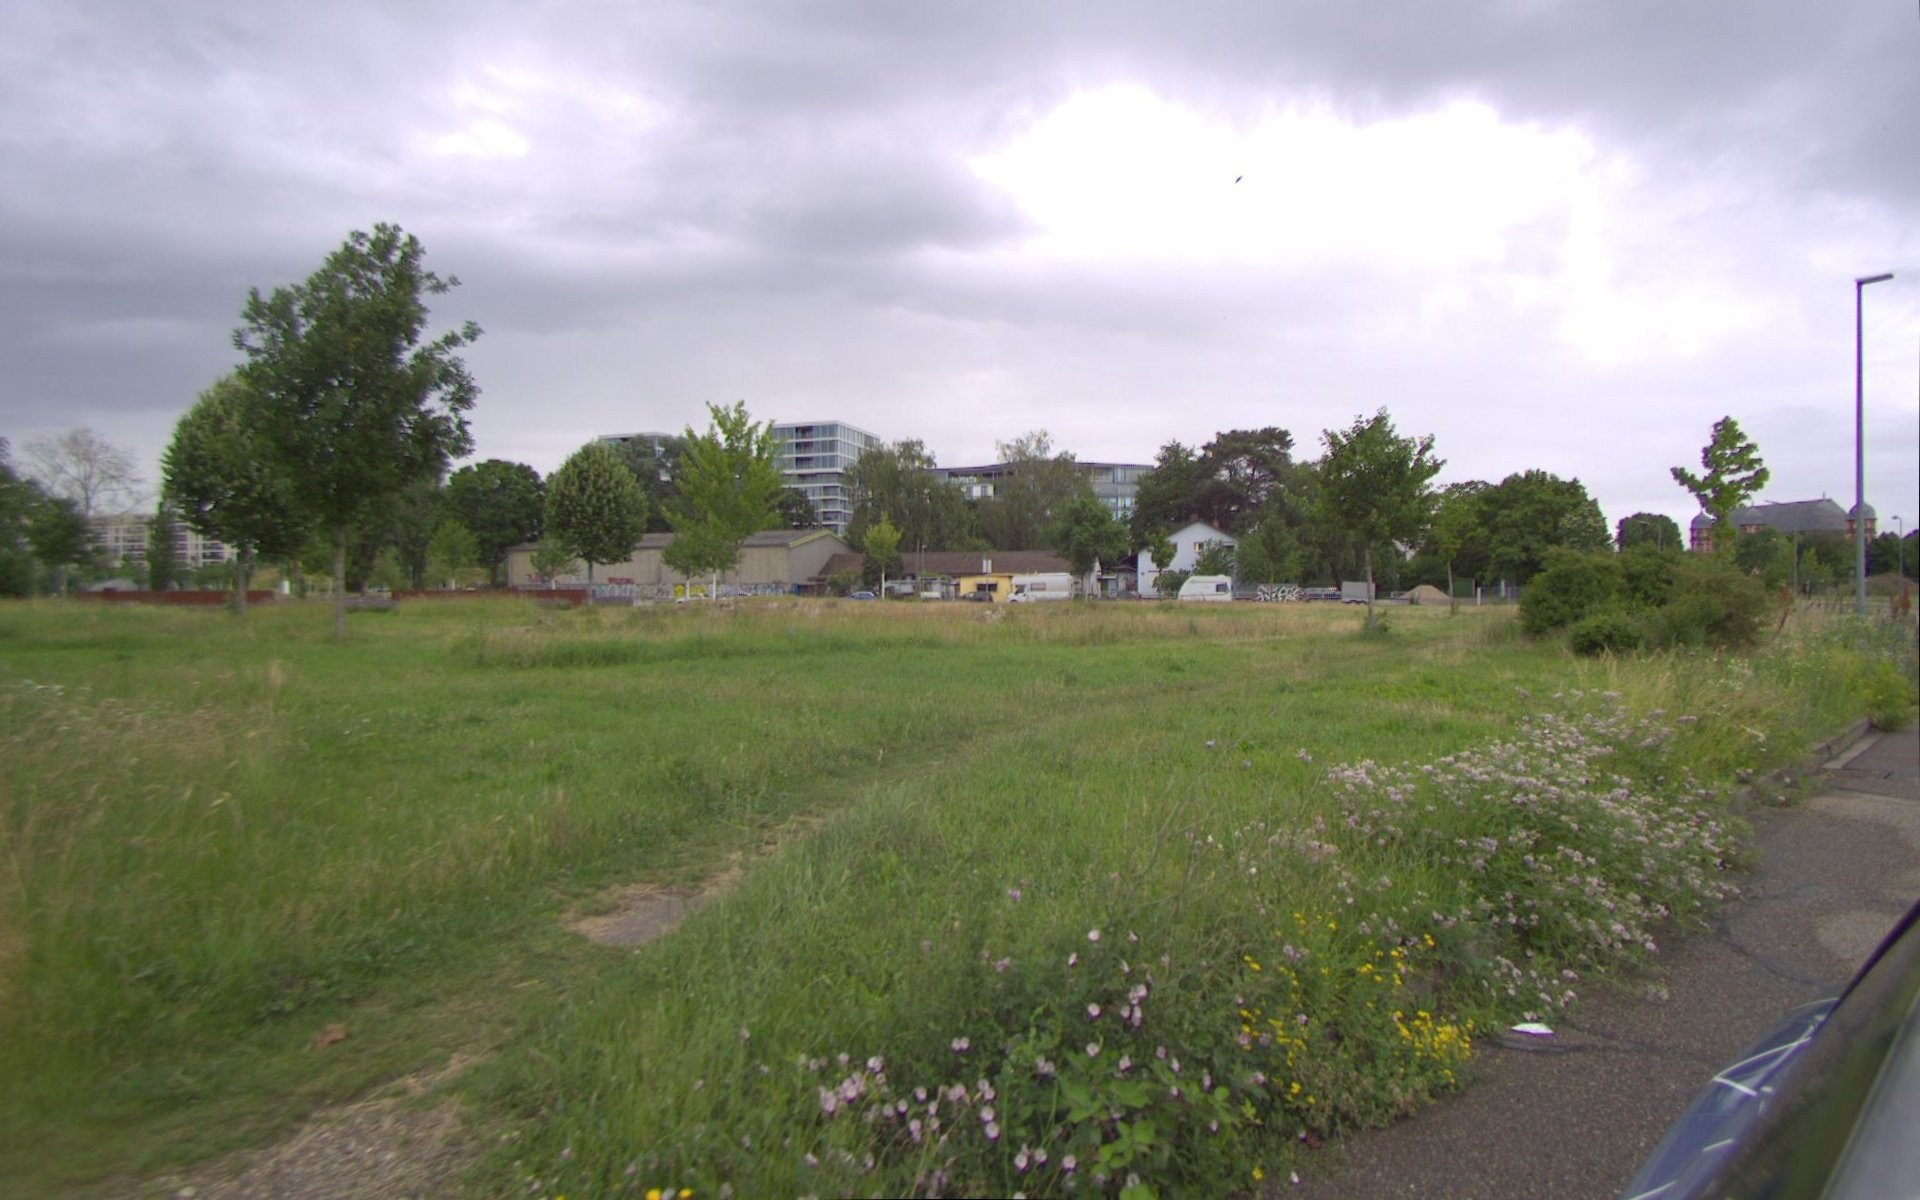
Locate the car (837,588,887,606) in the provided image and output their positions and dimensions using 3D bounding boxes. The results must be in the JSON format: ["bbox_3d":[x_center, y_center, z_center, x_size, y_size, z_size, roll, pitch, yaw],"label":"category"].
[{"bbox_3d":[-9.209,-0.294,94.967,4.229,1.594,1.987,0,-2,19],"label":"car"}]

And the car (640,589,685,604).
[{"bbox_3d":[-29.740,-0.344,101.193,3.947,1.438,1.838,0,0,18],"label":"car"}]

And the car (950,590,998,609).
[{"bbox_3d":[1.294,-0.061,91.348,3.884,1.594,1.987,0,-2,19],"label":"car"}]

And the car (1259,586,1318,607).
[{"bbox_3d":[26.716,-0.265,82.469,4.532,1.661,1.988,0,0,18],"label":"car"}]

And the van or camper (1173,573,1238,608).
[{"bbox_3d":[20.565,-0.802,84.749,5.114,2.868,2.401,0,0,20],"label":"van or camper"}]

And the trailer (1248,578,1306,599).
[{"bbox_3d":[23.371,-0.837,74.713,4.062,1.552,1.749,0,0,16],"label":"trailer"}]

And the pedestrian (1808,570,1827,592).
[{"bbox_3d":[72.362,-1.597,85.440,0.835,1.805,1.071,0,-1,17],"label":"pedestrian"}]

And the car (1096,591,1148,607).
[{"bbox_3d":[13.887,-0.100,86.790,4.233,1.402,1.902,0,0,18],"label":"car"}]

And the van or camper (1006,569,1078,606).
[{"bbox_3d":[7.220,-1.097,89.188,5.991,3.151,2.259,0,0,17],"label":"van or camper"}]

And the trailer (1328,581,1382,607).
[{"bbox_3d":[31.666,-0.474,81.294,3.946,2.039,1.634,0,0,18],"label":"trailer"}]
